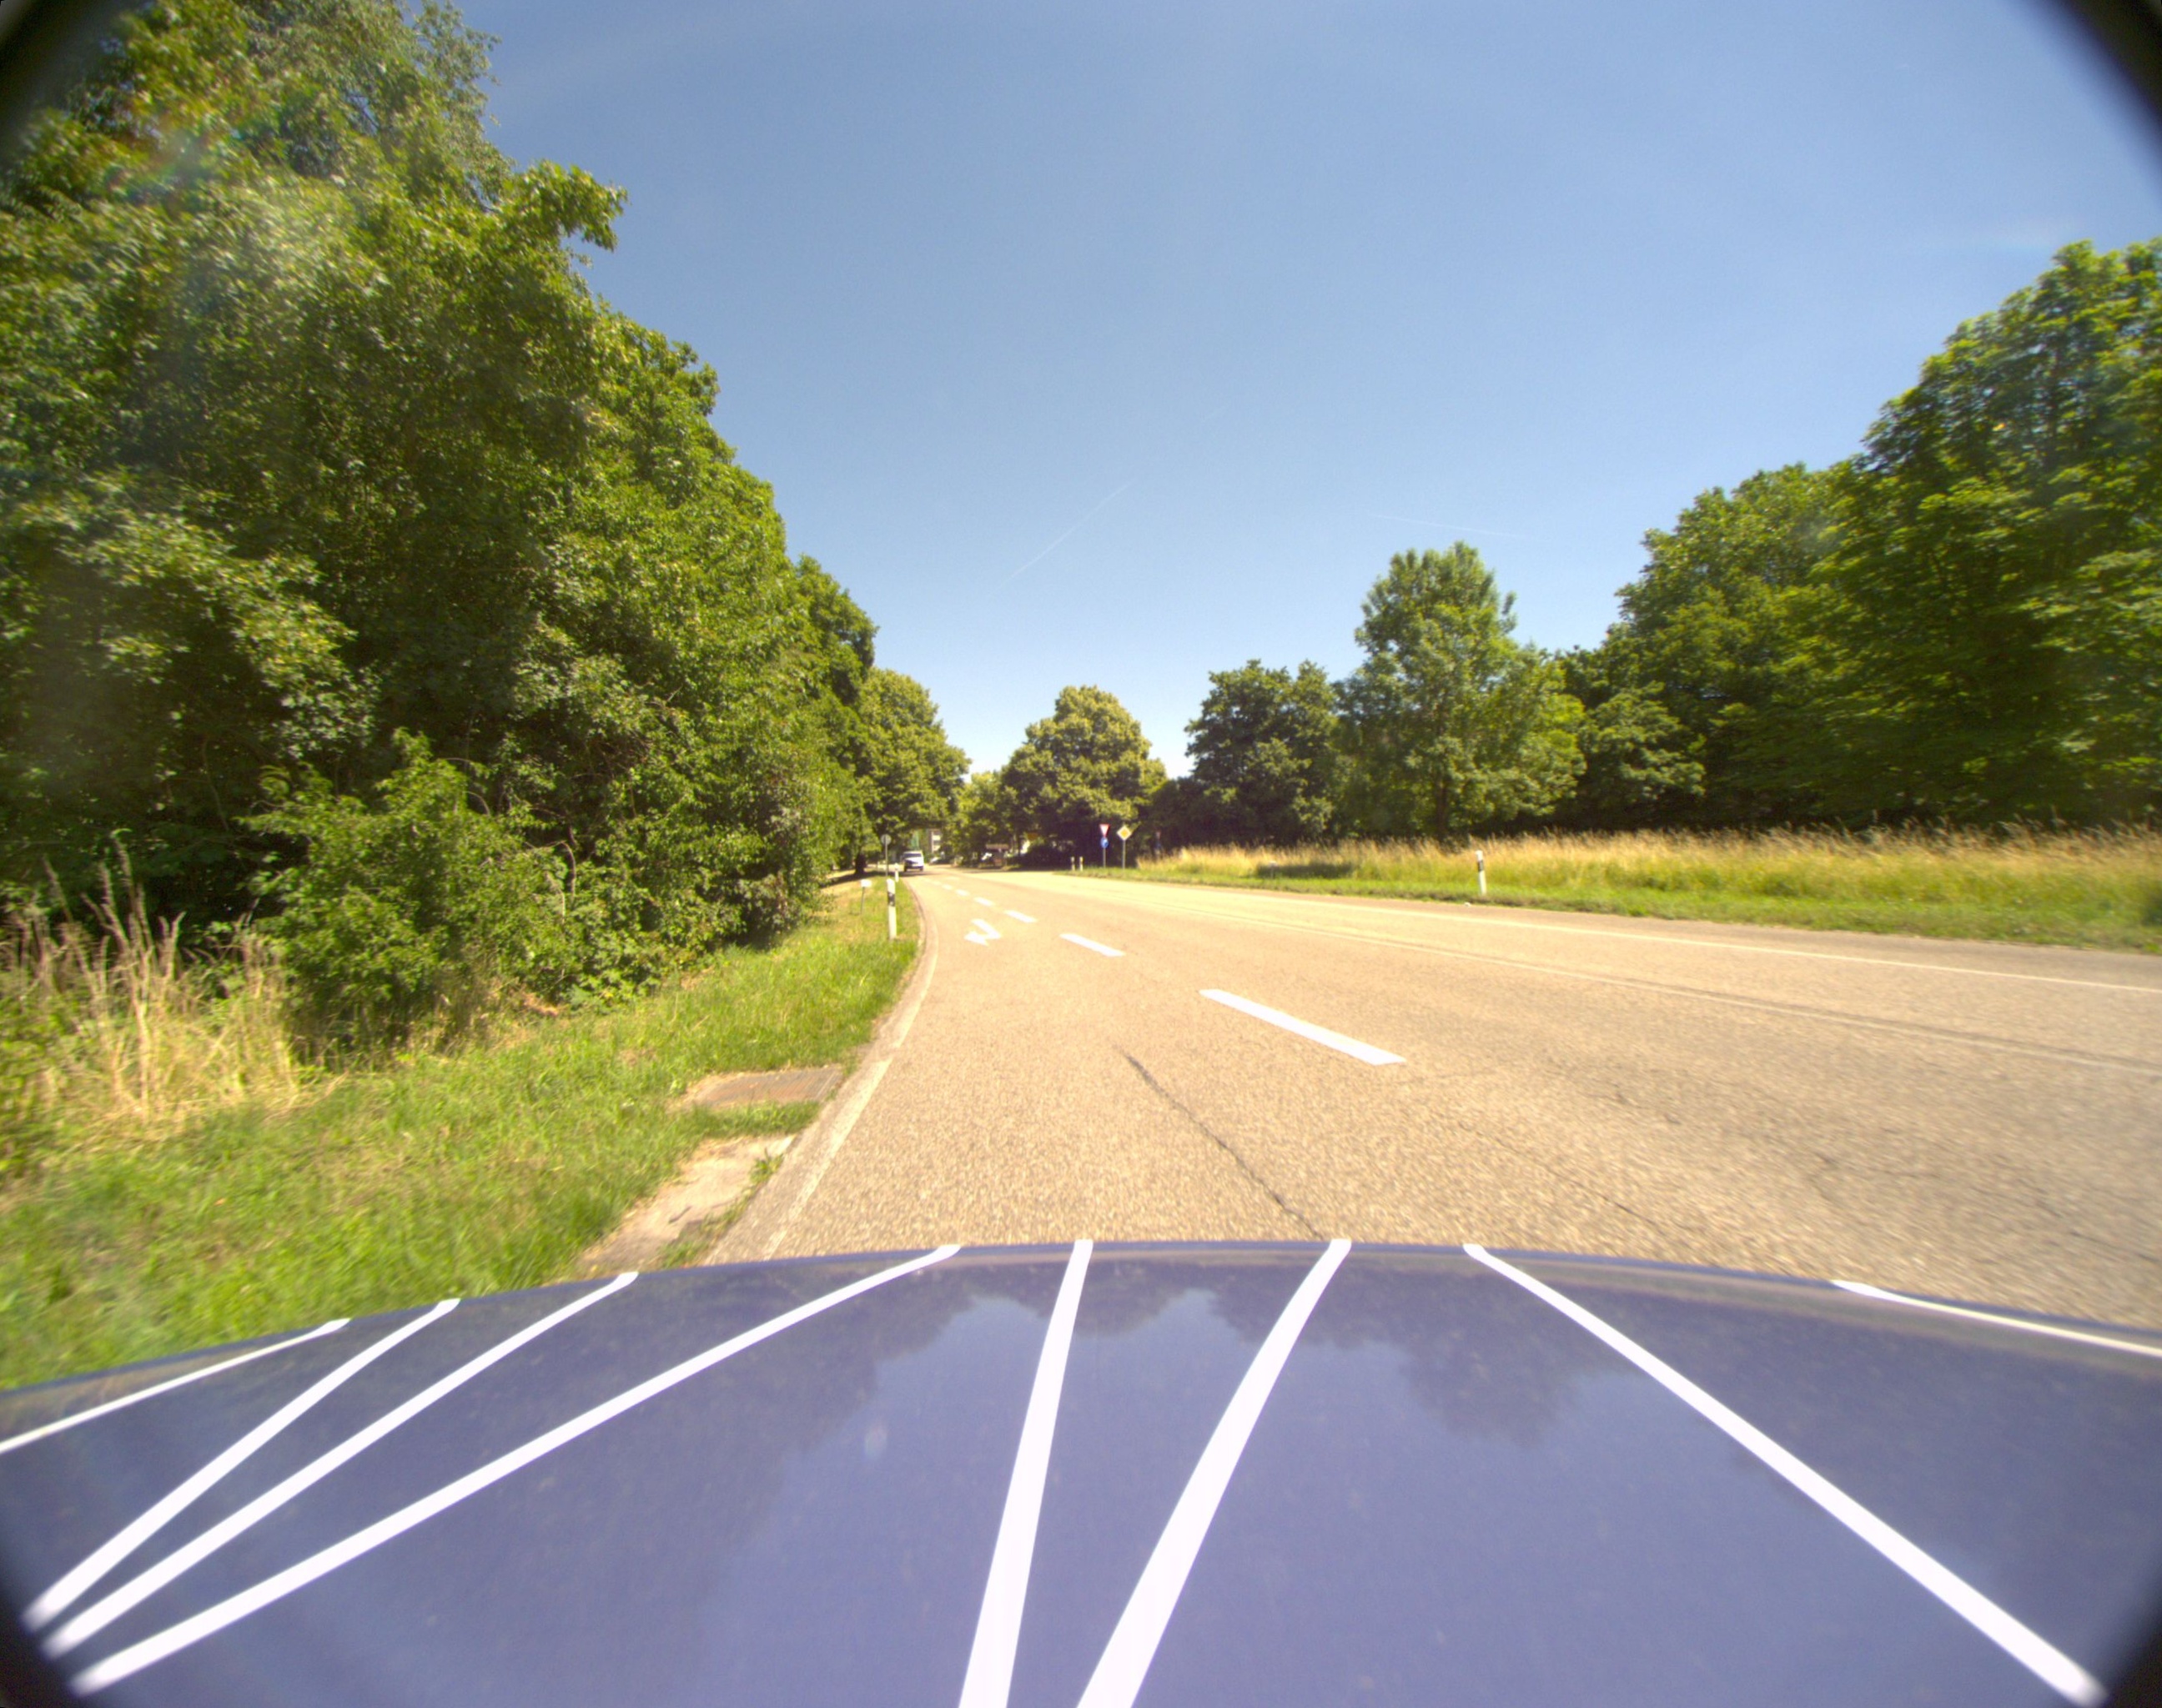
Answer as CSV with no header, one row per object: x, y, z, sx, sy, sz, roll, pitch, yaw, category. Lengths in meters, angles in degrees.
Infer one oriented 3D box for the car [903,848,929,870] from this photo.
-16.946,0.527,77.976,2.097,2.001,4.400,-2,-1,-18,car
